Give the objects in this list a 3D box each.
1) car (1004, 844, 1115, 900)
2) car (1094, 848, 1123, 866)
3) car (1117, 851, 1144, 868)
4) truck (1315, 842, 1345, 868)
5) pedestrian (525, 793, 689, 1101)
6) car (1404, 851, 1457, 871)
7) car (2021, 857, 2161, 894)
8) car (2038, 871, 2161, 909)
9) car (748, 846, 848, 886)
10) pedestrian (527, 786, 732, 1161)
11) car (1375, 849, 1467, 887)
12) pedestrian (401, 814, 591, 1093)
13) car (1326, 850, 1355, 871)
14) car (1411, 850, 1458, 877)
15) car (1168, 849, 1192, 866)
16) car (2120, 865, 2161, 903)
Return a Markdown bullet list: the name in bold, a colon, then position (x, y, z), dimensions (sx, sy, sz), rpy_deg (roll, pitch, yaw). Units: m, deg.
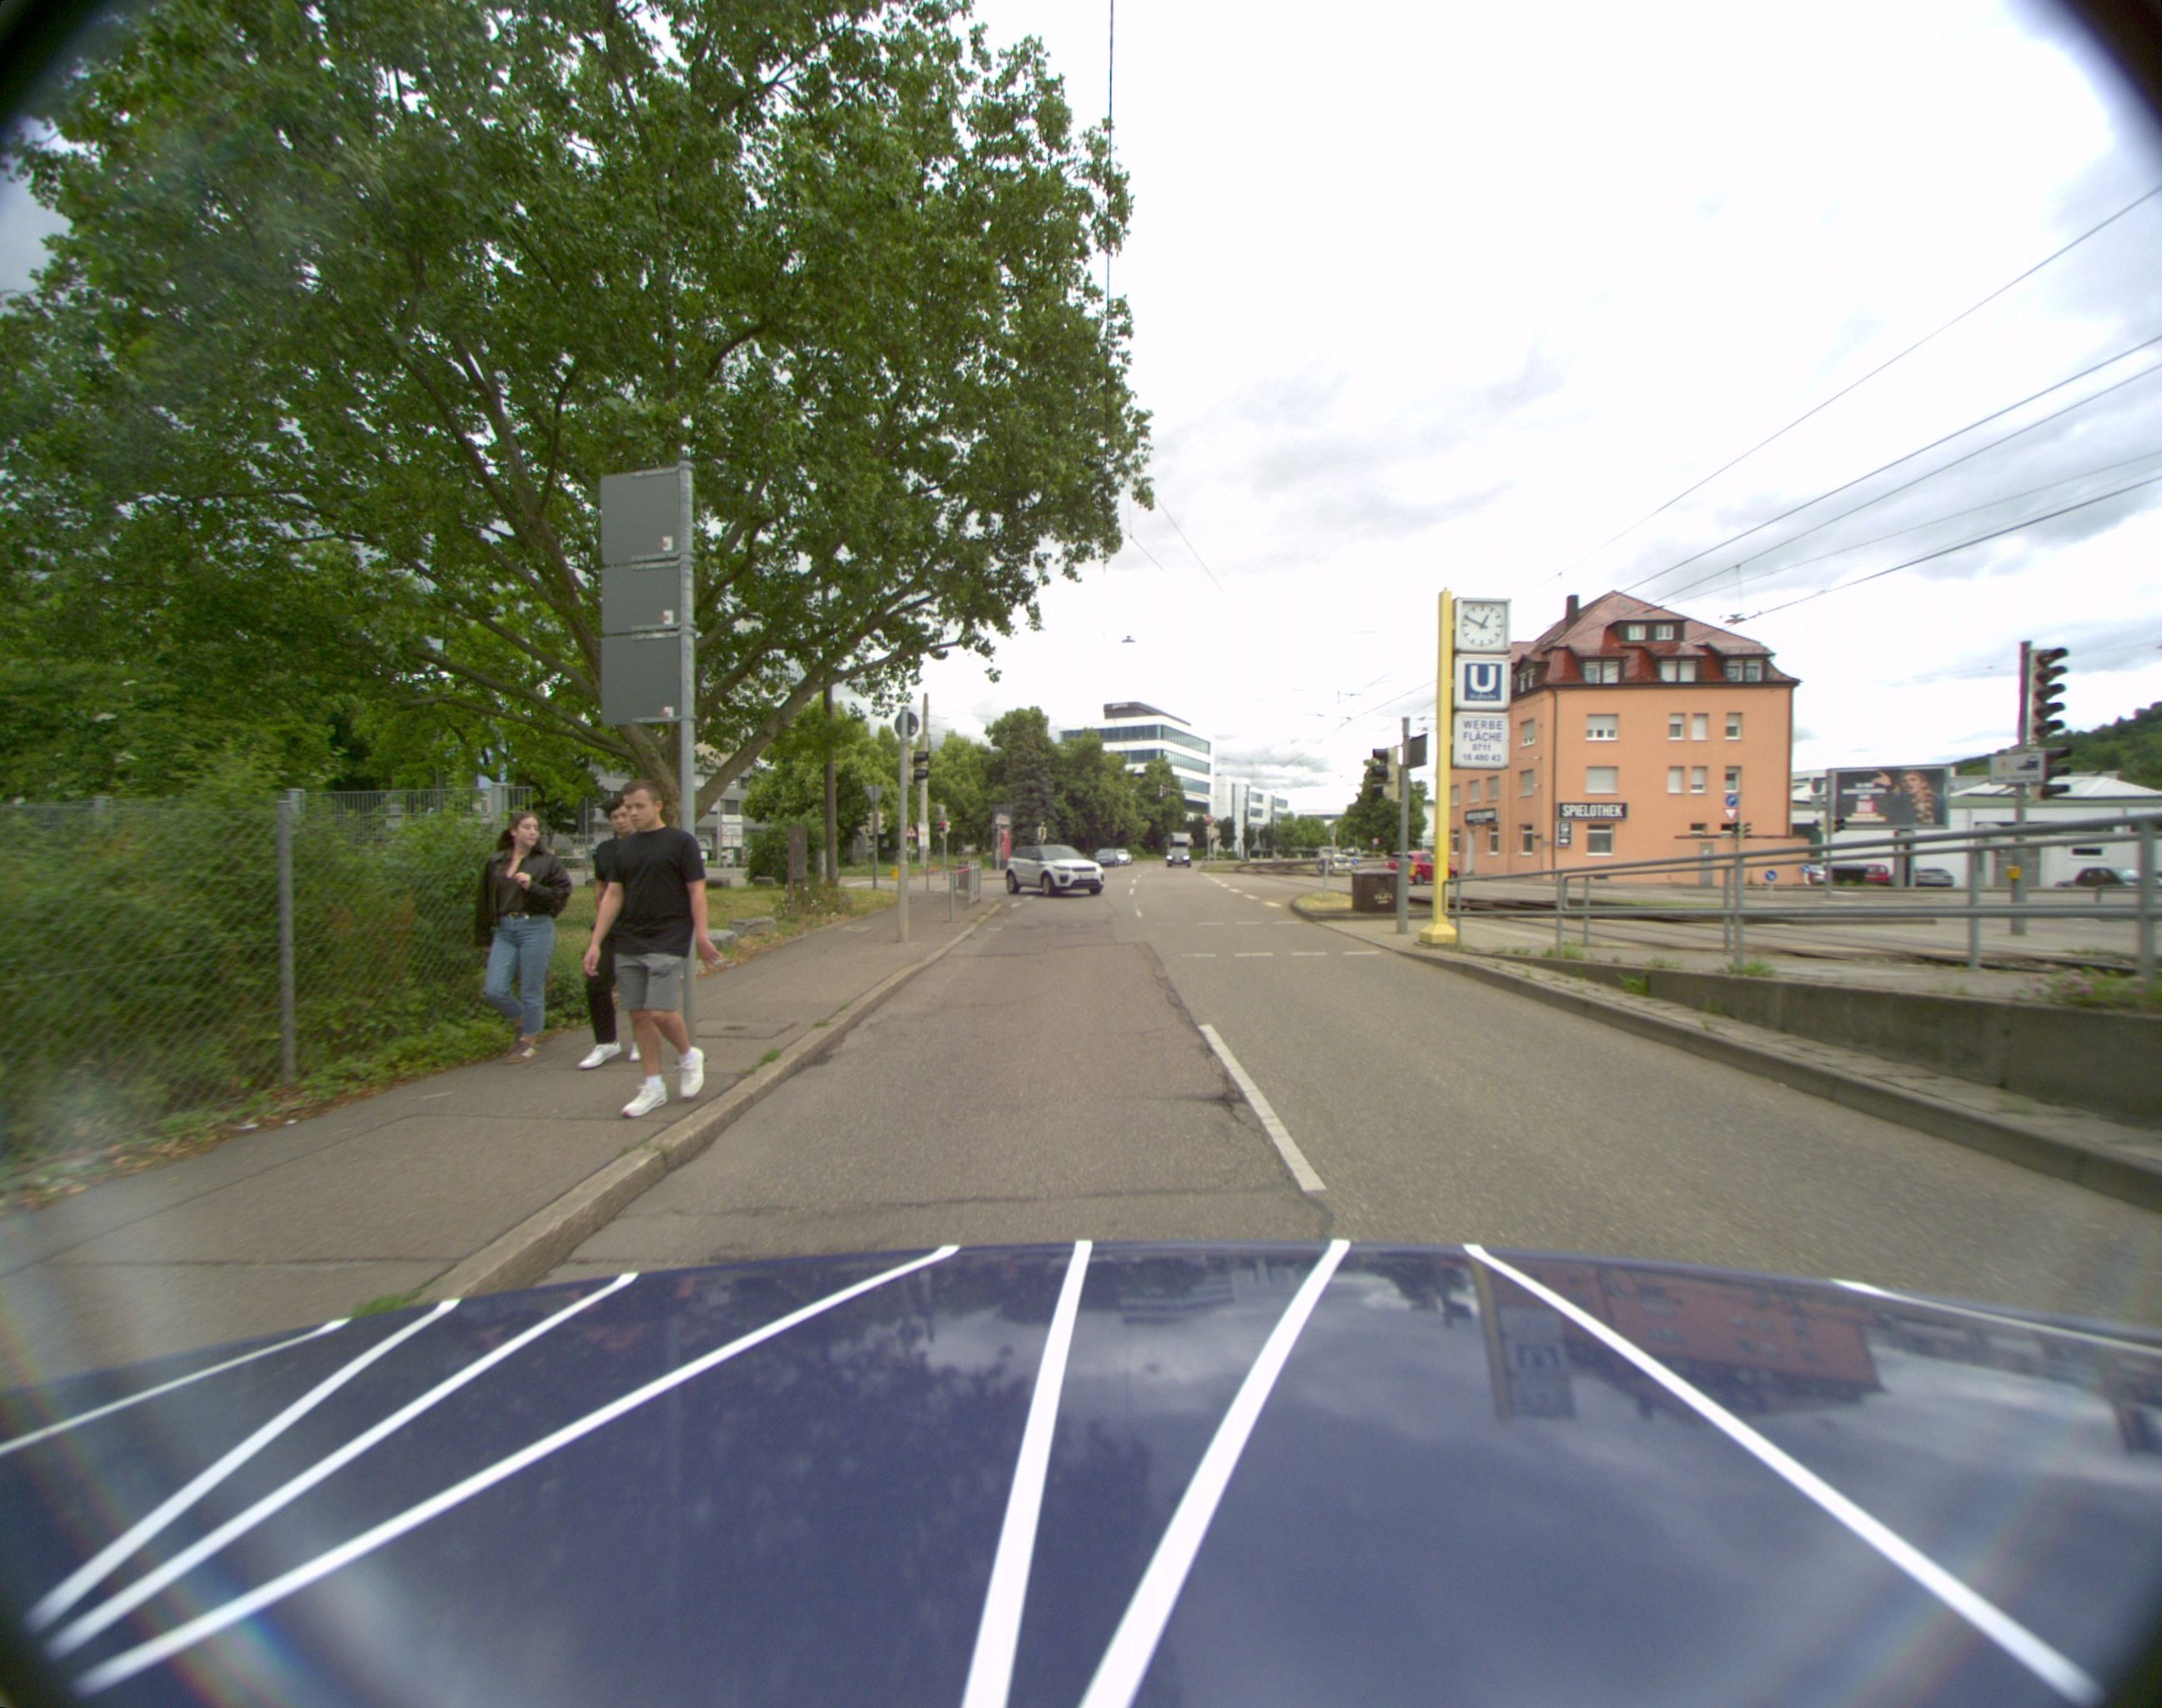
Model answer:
- **car**: position (-0.793, 0.503, 24.821), dimensions (1.920, 1.561, 4.102), rpy_deg (-1, 2, -30)
- **car**: position (2.231, 0.237, 60.729), dimensions (1.747, 1.384, 3.706), rpy_deg (0, 1, 11)
- **car**: position (4.437, 0.504, 68.093), dimensions (1.746, 1.418, 4.169), rpy_deg (0, 1, 13)
- **truck**: position (25.016, 0.086, 76.144), dimensions (2.315, 2.408, 5.663), rpy_deg (3, 2, 22)
- **pedestrian**: position (-3.025, 0.557, 4.910), dimensions (0.604, 1.857, 0.671), rpy_deg (0, 2, 1)
- **car**: position (39.486, 0.790, 85.785), dimensions (6.308, 2.089, 1.746), rpy_deg (-1, 1, -24)
- **car**: position (59.190, 1.217, 44.646), dimensions (4.500, 1.830, 2.002), rpy_deg (2, 5, 20)
- **car**: position (45.755, 1.542, 33.843), dimensions (1.603, 1.477, 3.568), rpy_deg (0, 1, -4)
- **car**: position (-13.124, 0.562, 35.206), dimensions (4.220, 1.761, 1.836), rpy_deg (0, -1, 22)
- **pedestrian**: position (-2.347, 0.579, 4.047), dimensions (0.604, 1.858, 0.671), rpy_deg (0, 5, 1)
- **car**: position (14.989, 0.564, 33.470), dimensions (3.746, 1.522, 1.763), rpy_deg (-1, 3, -30)
- **pedestrian**: position (-3.713, 0.592, 4.890), dimensions (0.604, 1.681, 0.671), rpy_deg (0, 5, 1)
- **car**: position (22.808, 0.588, 66.853), dimensions (1.596, 1.410, 3.379), rpy_deg (-4, -6, 7)
- **car**: position (24.406, 0.599, 52.585), dimensions (1.701, 1.517, 3.999), rpy_deg (0, 4, 6)
- **car**: position (8.021, 0.241, 61.403), dimensions (1.626, 1.324, 3.176), rpy_deg (0, 1, 11)
- **car**: position (58.001, 1.617, 39.340), dimensions (4.500, 1.830, 2.001), rpy_deg (2, 5, 18)
